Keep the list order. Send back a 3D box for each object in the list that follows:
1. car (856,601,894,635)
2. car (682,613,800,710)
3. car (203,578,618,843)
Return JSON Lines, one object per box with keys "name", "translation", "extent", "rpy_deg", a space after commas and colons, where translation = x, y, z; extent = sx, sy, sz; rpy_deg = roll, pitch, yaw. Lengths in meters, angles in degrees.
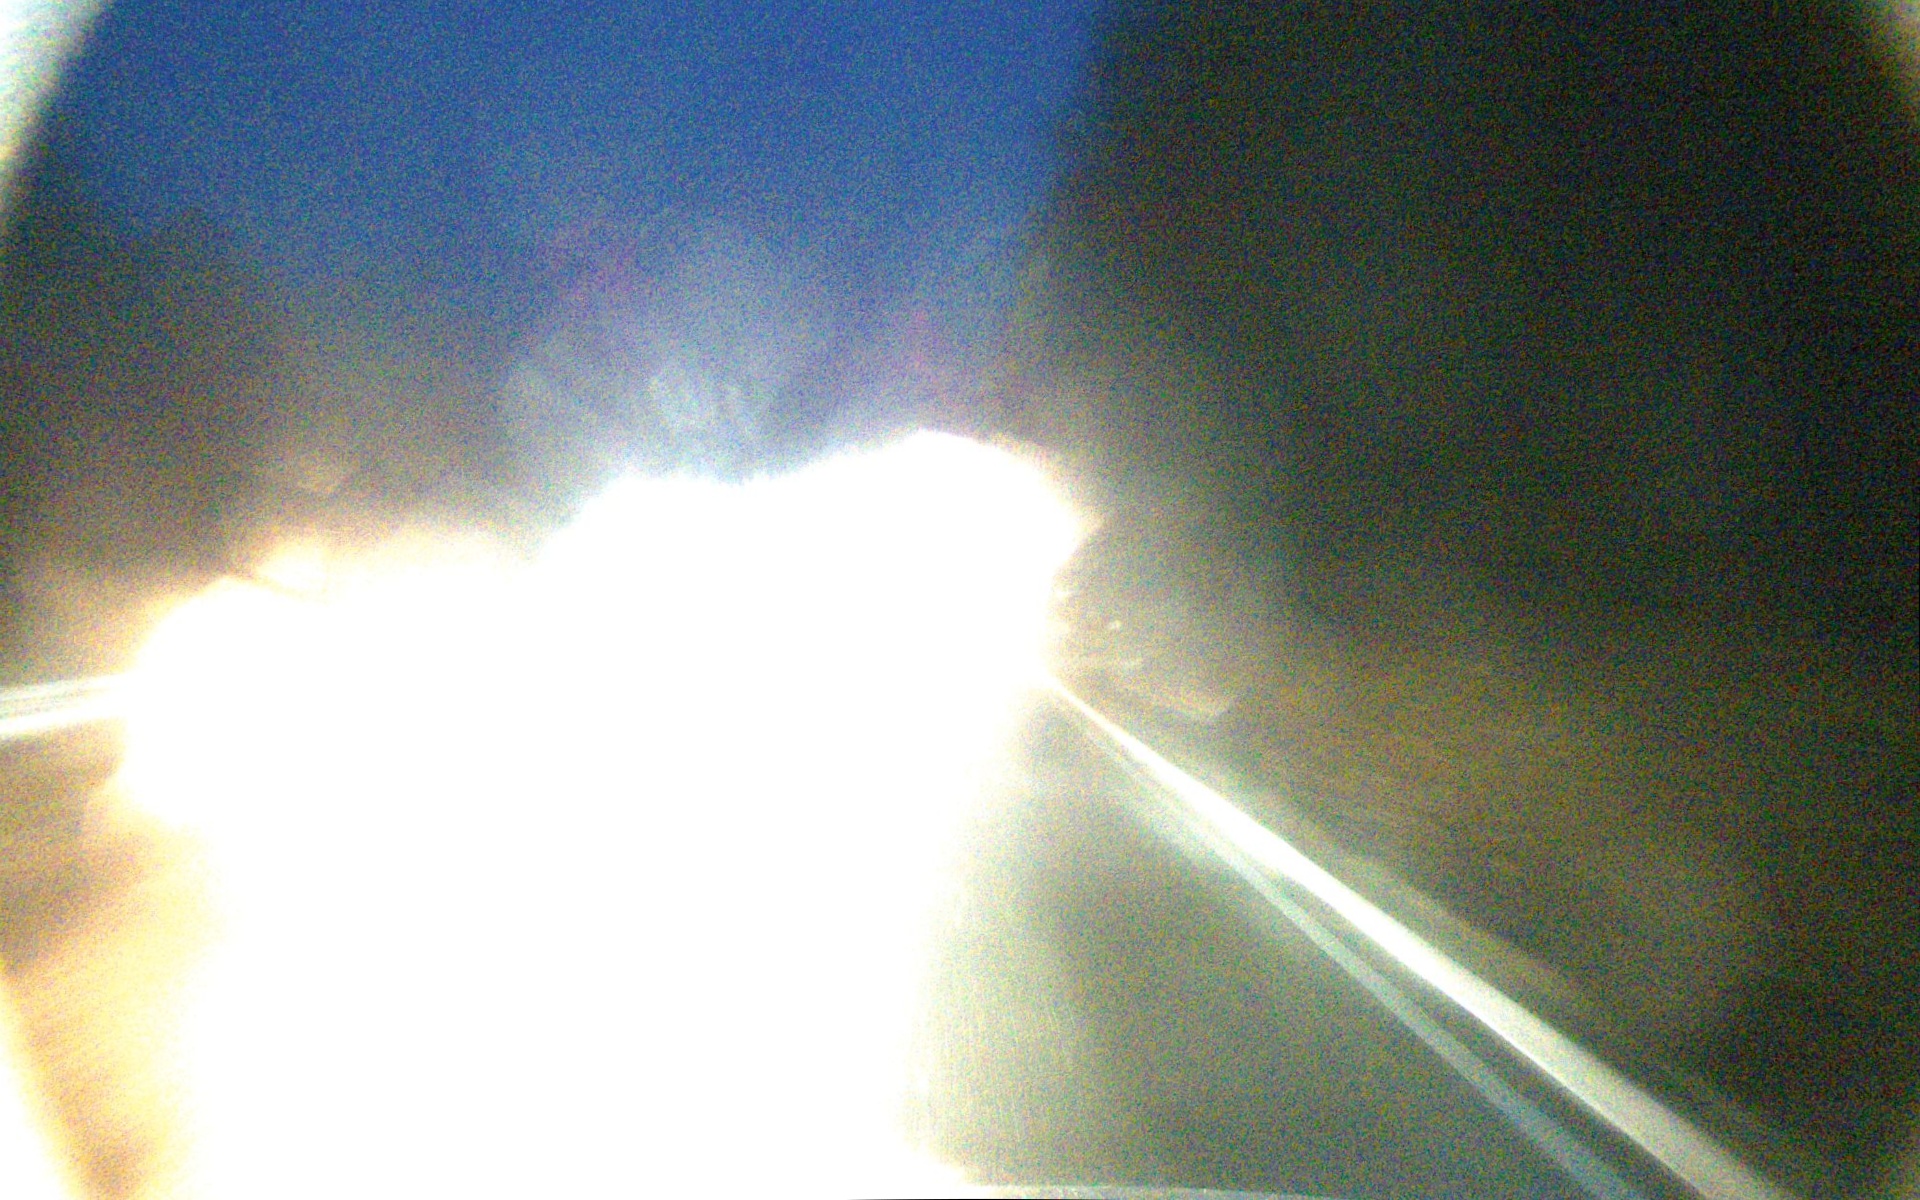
{"name": "car", "translation": [-4.068, 0.850, 79.623], "extent": [1.681, 1.544, 3.877], "rpy_deg": [0, 0, -1]}
{"name": "car", "translation": [-3.706, 1.002, 28.549], "extent": [1.612, 1.450, 4.121], "rpy_deg": [2, 0, -3]}
{"name": "car", "translation": [-3.405, 0.603, 10.958], "extent": [1.611, 1.450, 3.658], "rpy_deg": [0, 0, -2]}
